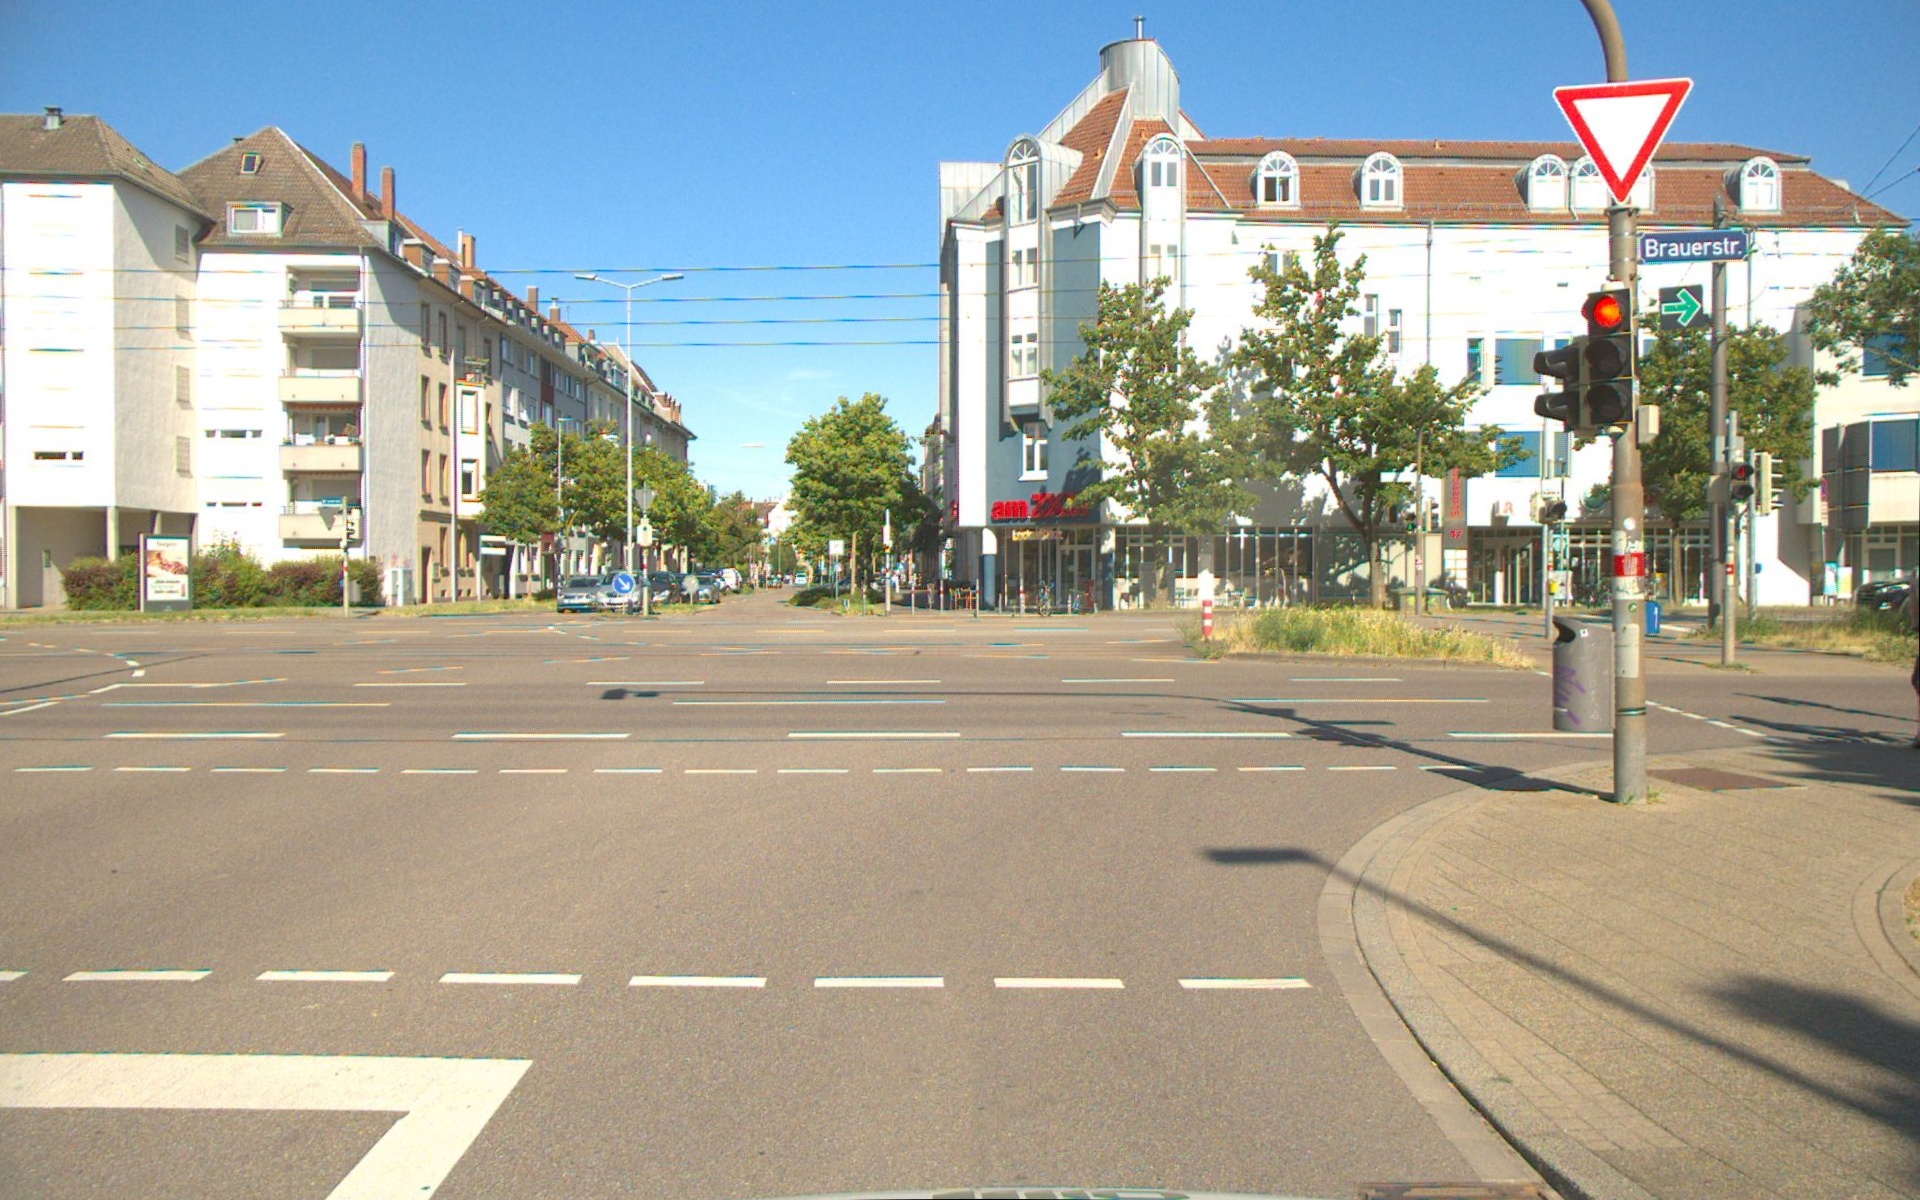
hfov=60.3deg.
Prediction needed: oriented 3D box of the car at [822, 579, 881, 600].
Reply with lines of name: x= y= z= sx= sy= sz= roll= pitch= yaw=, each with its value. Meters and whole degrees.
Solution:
car: x=-6.727 y=-0.643 z=102.276 sx=3.502 sy=1.244 sz=1.727 roll=1 pitch=0 yaw=-10

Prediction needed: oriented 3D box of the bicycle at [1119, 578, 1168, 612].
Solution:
bicycle: x=5.737 y=-0.143 z=51.741 sx=1.479 sy=1.045 sz=0.473 roll=0 pitch=1 yaw=8

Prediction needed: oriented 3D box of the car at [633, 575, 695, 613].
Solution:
car: x=-12.505 y=-0.261 z=70.049 sx=1.653 sy=1.457 sz=4.401 roll=2 pitch=0 yaw=2

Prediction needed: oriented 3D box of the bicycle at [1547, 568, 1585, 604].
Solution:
bicycle: x=21.136 y=-0.497 z=57.688 sx=0.549 sy=1.203 sz=1.868 roll=-1 pitch=1 yaw=-3

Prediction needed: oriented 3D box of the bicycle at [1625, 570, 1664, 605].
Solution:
bicycle: x=23.856 y=-0.448 z=57.686 sx=0.549 sy=1.203 sz=1.870 roll=0 pitch=1 yaw=-1

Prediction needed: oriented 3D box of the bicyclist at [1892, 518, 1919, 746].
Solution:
bicyclist: x=8.304 y=0.249 z=13.823 sx=0.777 sy=1.856 sz=1.131 roll=0 pitch=1 yaw=35

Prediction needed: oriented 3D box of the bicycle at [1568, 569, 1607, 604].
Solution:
bicycle: x=22.007 y=-0.473 z=58.032 sx=0.549 sy=1.203 sz=1.868 roll=-1 pitch=1 yaw=-3

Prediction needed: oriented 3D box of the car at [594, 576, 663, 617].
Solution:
car: x=-12.684 y=-0.158 z=63.520 sx=1.653 sy=1.457 sz=4.400 roll=2 pitch=0 yaw=0

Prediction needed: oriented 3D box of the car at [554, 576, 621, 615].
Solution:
car: x=-14.959 y=-0.177 z=66.620 sx=1.653 sy=1.457 sz=4.400 roll=2 pitch=0 yaw=0

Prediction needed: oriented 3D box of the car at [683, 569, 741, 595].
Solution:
car: x=-19.878 y=-1.417 z=132.673 sx=4.417 sy=2.049 sz=1.998 roll=0 pitch=0 yaw=-5

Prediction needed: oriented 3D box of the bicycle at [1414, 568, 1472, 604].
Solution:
bicycle: x=16.457 y=-0.466 z=56.336 sx=1.828 sy=1.203 sz=0.561 roll=-1 pitch=1 yaw=-7

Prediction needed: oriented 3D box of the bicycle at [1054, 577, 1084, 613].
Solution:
bicycle: x=3.277 y=-0.163 z=49.906 sx=0.463 sy=1.045 sz=1.511 roll=-1 pitch=1 yaw=-14

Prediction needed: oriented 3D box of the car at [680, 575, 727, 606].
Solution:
car: x=-13.219 y=-0.492 z=85.340 sx=1.653 sy=1.457 sz=4.400 roll=2 pitch=0 yaw=0

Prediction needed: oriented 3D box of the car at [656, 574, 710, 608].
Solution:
car: x=-12.728 y=-0.404 z=76.117 sx=1.653 sy=1.457 sz=4.400 roll=2 pitch=0 yaw=0

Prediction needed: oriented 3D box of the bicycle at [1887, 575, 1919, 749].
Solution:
bicycle: x=8.350 y=0.480 z=13.889 sx=0.777 sy=1.371 sz=2.071 roll=0 pitch=1 yaw=35

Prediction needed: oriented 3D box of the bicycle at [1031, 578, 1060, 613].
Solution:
bicycle: x=2.537 y=-0.142 z=49.358 sx=0.463 sy=1.045 sz=1.511 roll=-1 pitch=1 yaw=-13

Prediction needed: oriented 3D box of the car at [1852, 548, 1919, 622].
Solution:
car: x=22.827 y=-0.351 z=37.250 sx=4.405 sy=1.637 sz=2.002 roll=0 pitch=1 yaw=7

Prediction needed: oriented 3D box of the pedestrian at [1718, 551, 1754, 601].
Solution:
pedestrian: x=27.437 y=-0.836 z=58.467 sx=0.970 sy=1.753 sz=0.654 roll=-1 pitch=1 yaw=-3
